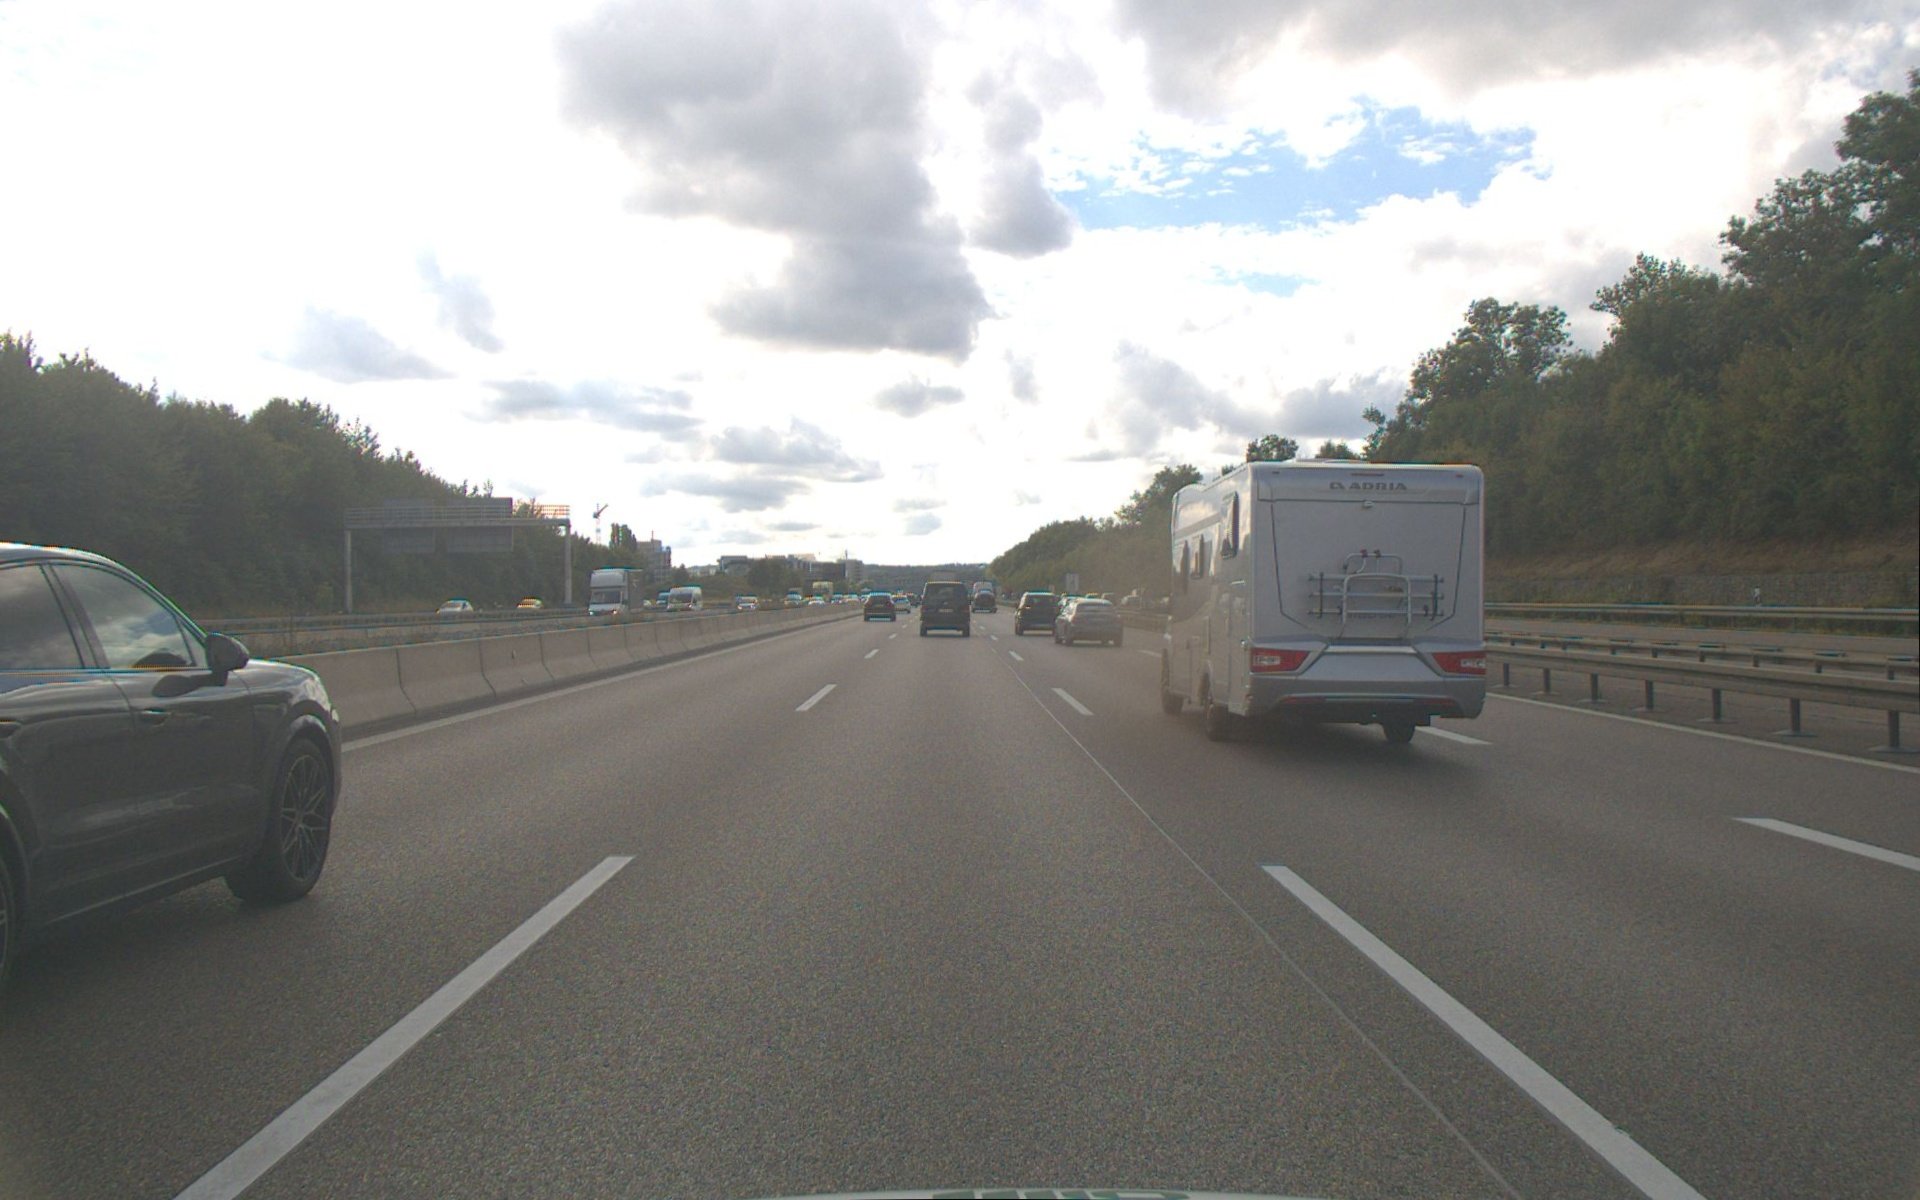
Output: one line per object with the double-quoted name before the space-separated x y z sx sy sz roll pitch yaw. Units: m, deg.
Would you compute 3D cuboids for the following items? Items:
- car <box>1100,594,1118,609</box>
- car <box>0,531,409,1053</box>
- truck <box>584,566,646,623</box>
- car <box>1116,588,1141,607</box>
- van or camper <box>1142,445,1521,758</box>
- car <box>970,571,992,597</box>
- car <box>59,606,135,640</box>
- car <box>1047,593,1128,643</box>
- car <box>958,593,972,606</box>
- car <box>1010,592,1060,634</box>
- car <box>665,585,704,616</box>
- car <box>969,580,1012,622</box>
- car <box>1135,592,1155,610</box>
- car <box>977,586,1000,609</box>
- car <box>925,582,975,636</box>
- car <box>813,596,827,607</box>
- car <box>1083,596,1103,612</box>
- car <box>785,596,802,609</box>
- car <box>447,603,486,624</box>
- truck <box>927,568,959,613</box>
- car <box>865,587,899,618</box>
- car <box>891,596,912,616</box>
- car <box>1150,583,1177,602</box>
"car" 17.864 0.168 198.431 1.716 1.725 4.189 0 0 -1
"car" -4.015 0.605 6.592 1.873 1.664 5.499 0 0 -1
"truck" -21.061 -0.348 101.419 2.305 3.321 7.824 -1 0 -1
"car" 14.707 -0.223 144.603 1.563 1.573 4.188 0 0 -2
"van or camper" 3.754 -0.001 18.661 2.418 2.769 7.660 1 0 -1
"car" 1.923 -1.464 151.966 1.835 2.399 4.281 0 0 -1
"car" -41.687 1.104 79.959 1.559 1.520 4.179 -1 0 -2
"car" 3.958 0.533 51.950 1.688 1.505 4.384 0 0 -7
"car" 0.642 -0.072 214.262 1.716 1.725 4.189 0 0 -1
"car" 2.908 0.474 64.749 1.663 1.592 4.112 0 0 -2
"car" -21.473 0.039 129.096 2.120 2.311 6.459 -1 0 -1
"car" 1.260 0.024 70.463 1.686 1.754 4.390 0 0 -1
"car" 18.901 0.127 169.138 1.563 1.835 3.823 0 0 -2
"car" 2.465 -0.199 145.016 1.874 1.952 4.029 0 0 -1
"car" -0.396 0.311 61.424 1.817 1.944 4.259 0 0 -1
"car" -17.974 0.190 211.962 1.532 1.389 4.050 -1 0 -1
"car" 14.618 0.431 181.921 1.716 1.725 4.189 0 0 -1
"car" -18.056 0.294 179.219 1.532 1.389 4.050 -1 0 -1
"car" -33.795 0.913 113.310 1.532 1.389 4.050 0 0 -1
"truck" -1.826 -0.966 172.630 3.196 4.451 11.024 1 0 -1
"car" -4.489 0.159 95.471 1.835 1.728 4.071 0 0 -1
"car" -4.723 0.479 134.545 1.663 1.639 4.112 0 0 -2
"car" 18.027 -0.681 146.548 1.694 1.573 4.304 -2 0 -2
